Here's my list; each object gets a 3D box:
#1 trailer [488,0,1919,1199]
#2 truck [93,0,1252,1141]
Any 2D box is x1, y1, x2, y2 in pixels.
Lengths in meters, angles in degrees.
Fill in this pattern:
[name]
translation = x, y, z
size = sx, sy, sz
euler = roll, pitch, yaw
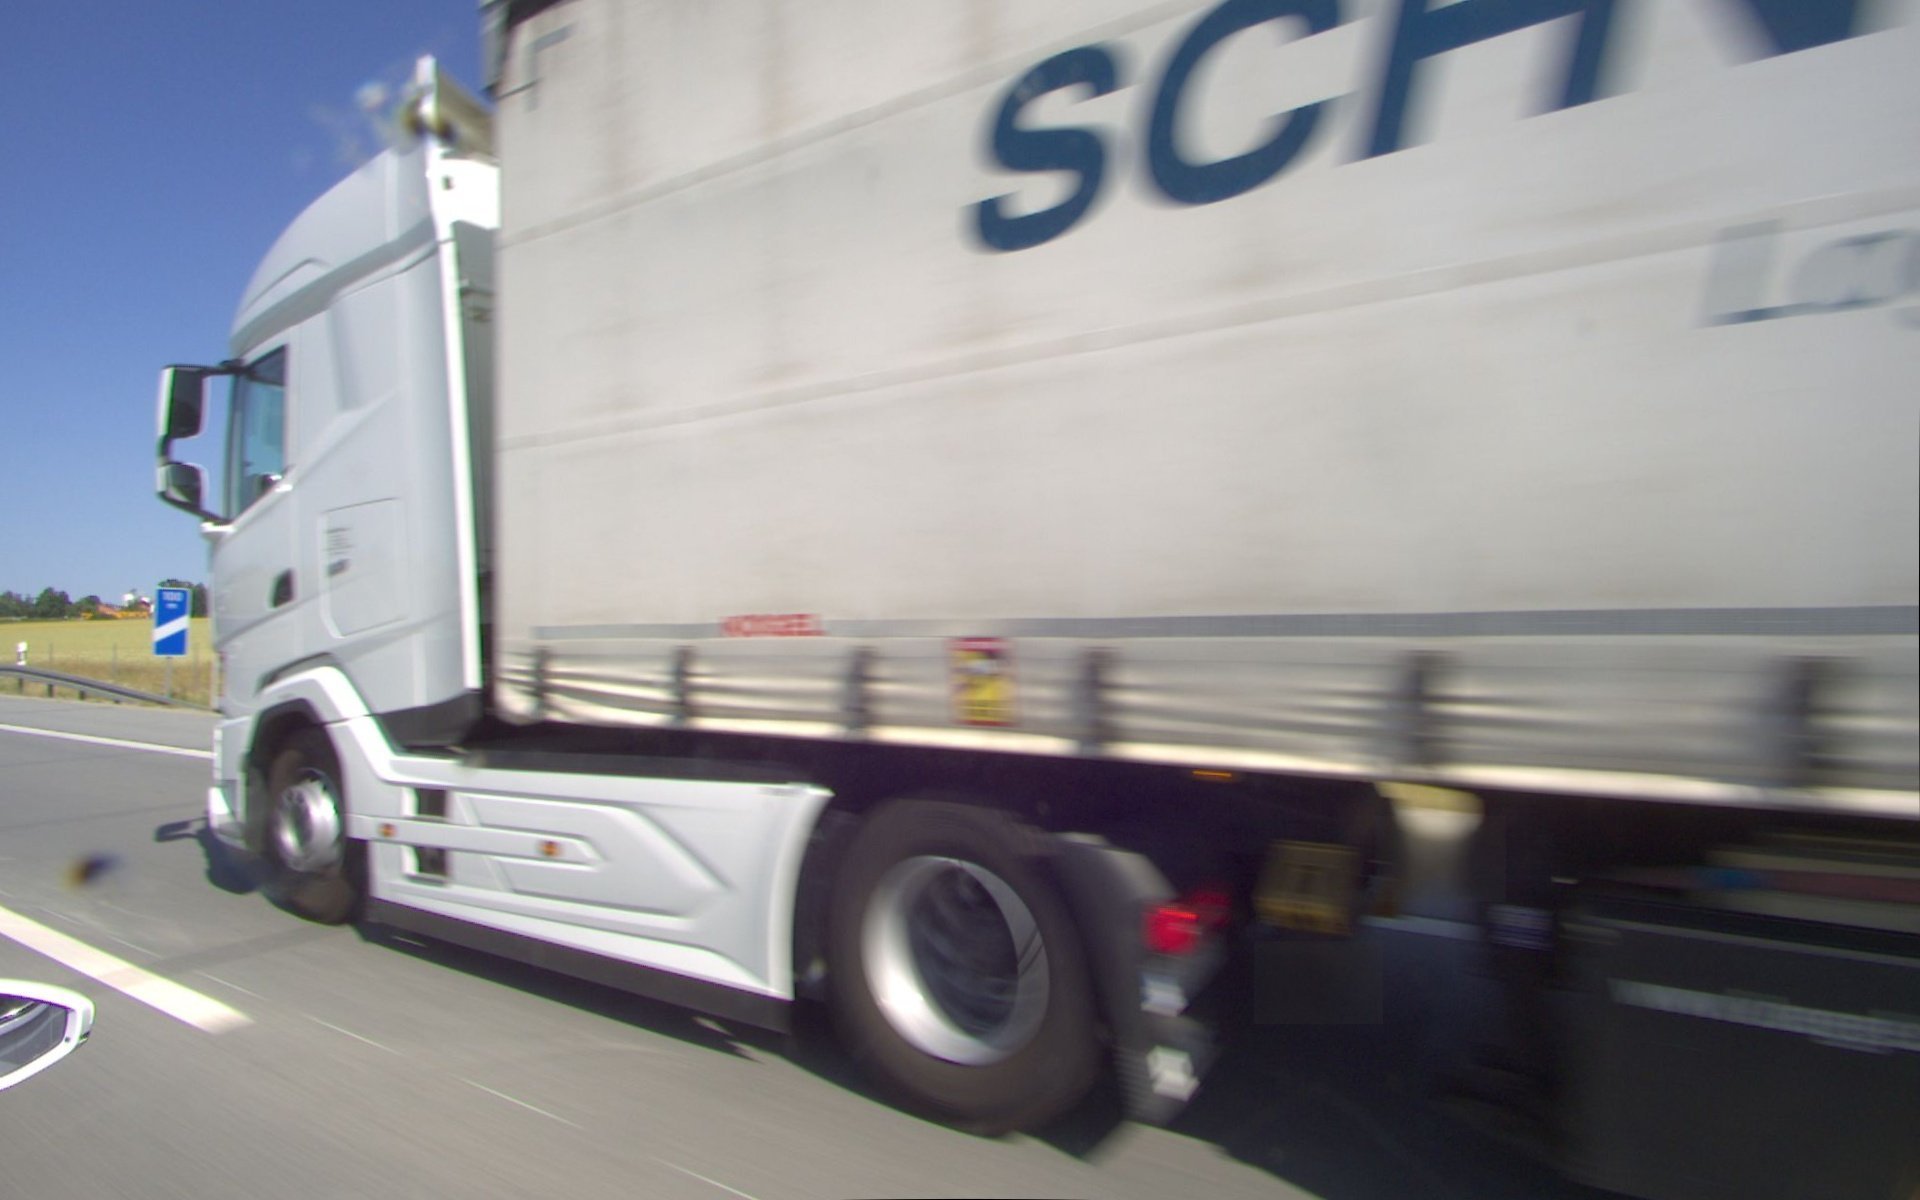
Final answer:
[trailer]
translation = 5.483, -0.746, 1.134
size = 15.238, 4.349, 3.171
euler = -1, -2, 32
[truck]
translation = -1.810, -0.465, 5.704
size = 6.101, 4.065, 3.078
euler = -1, -2, 32
